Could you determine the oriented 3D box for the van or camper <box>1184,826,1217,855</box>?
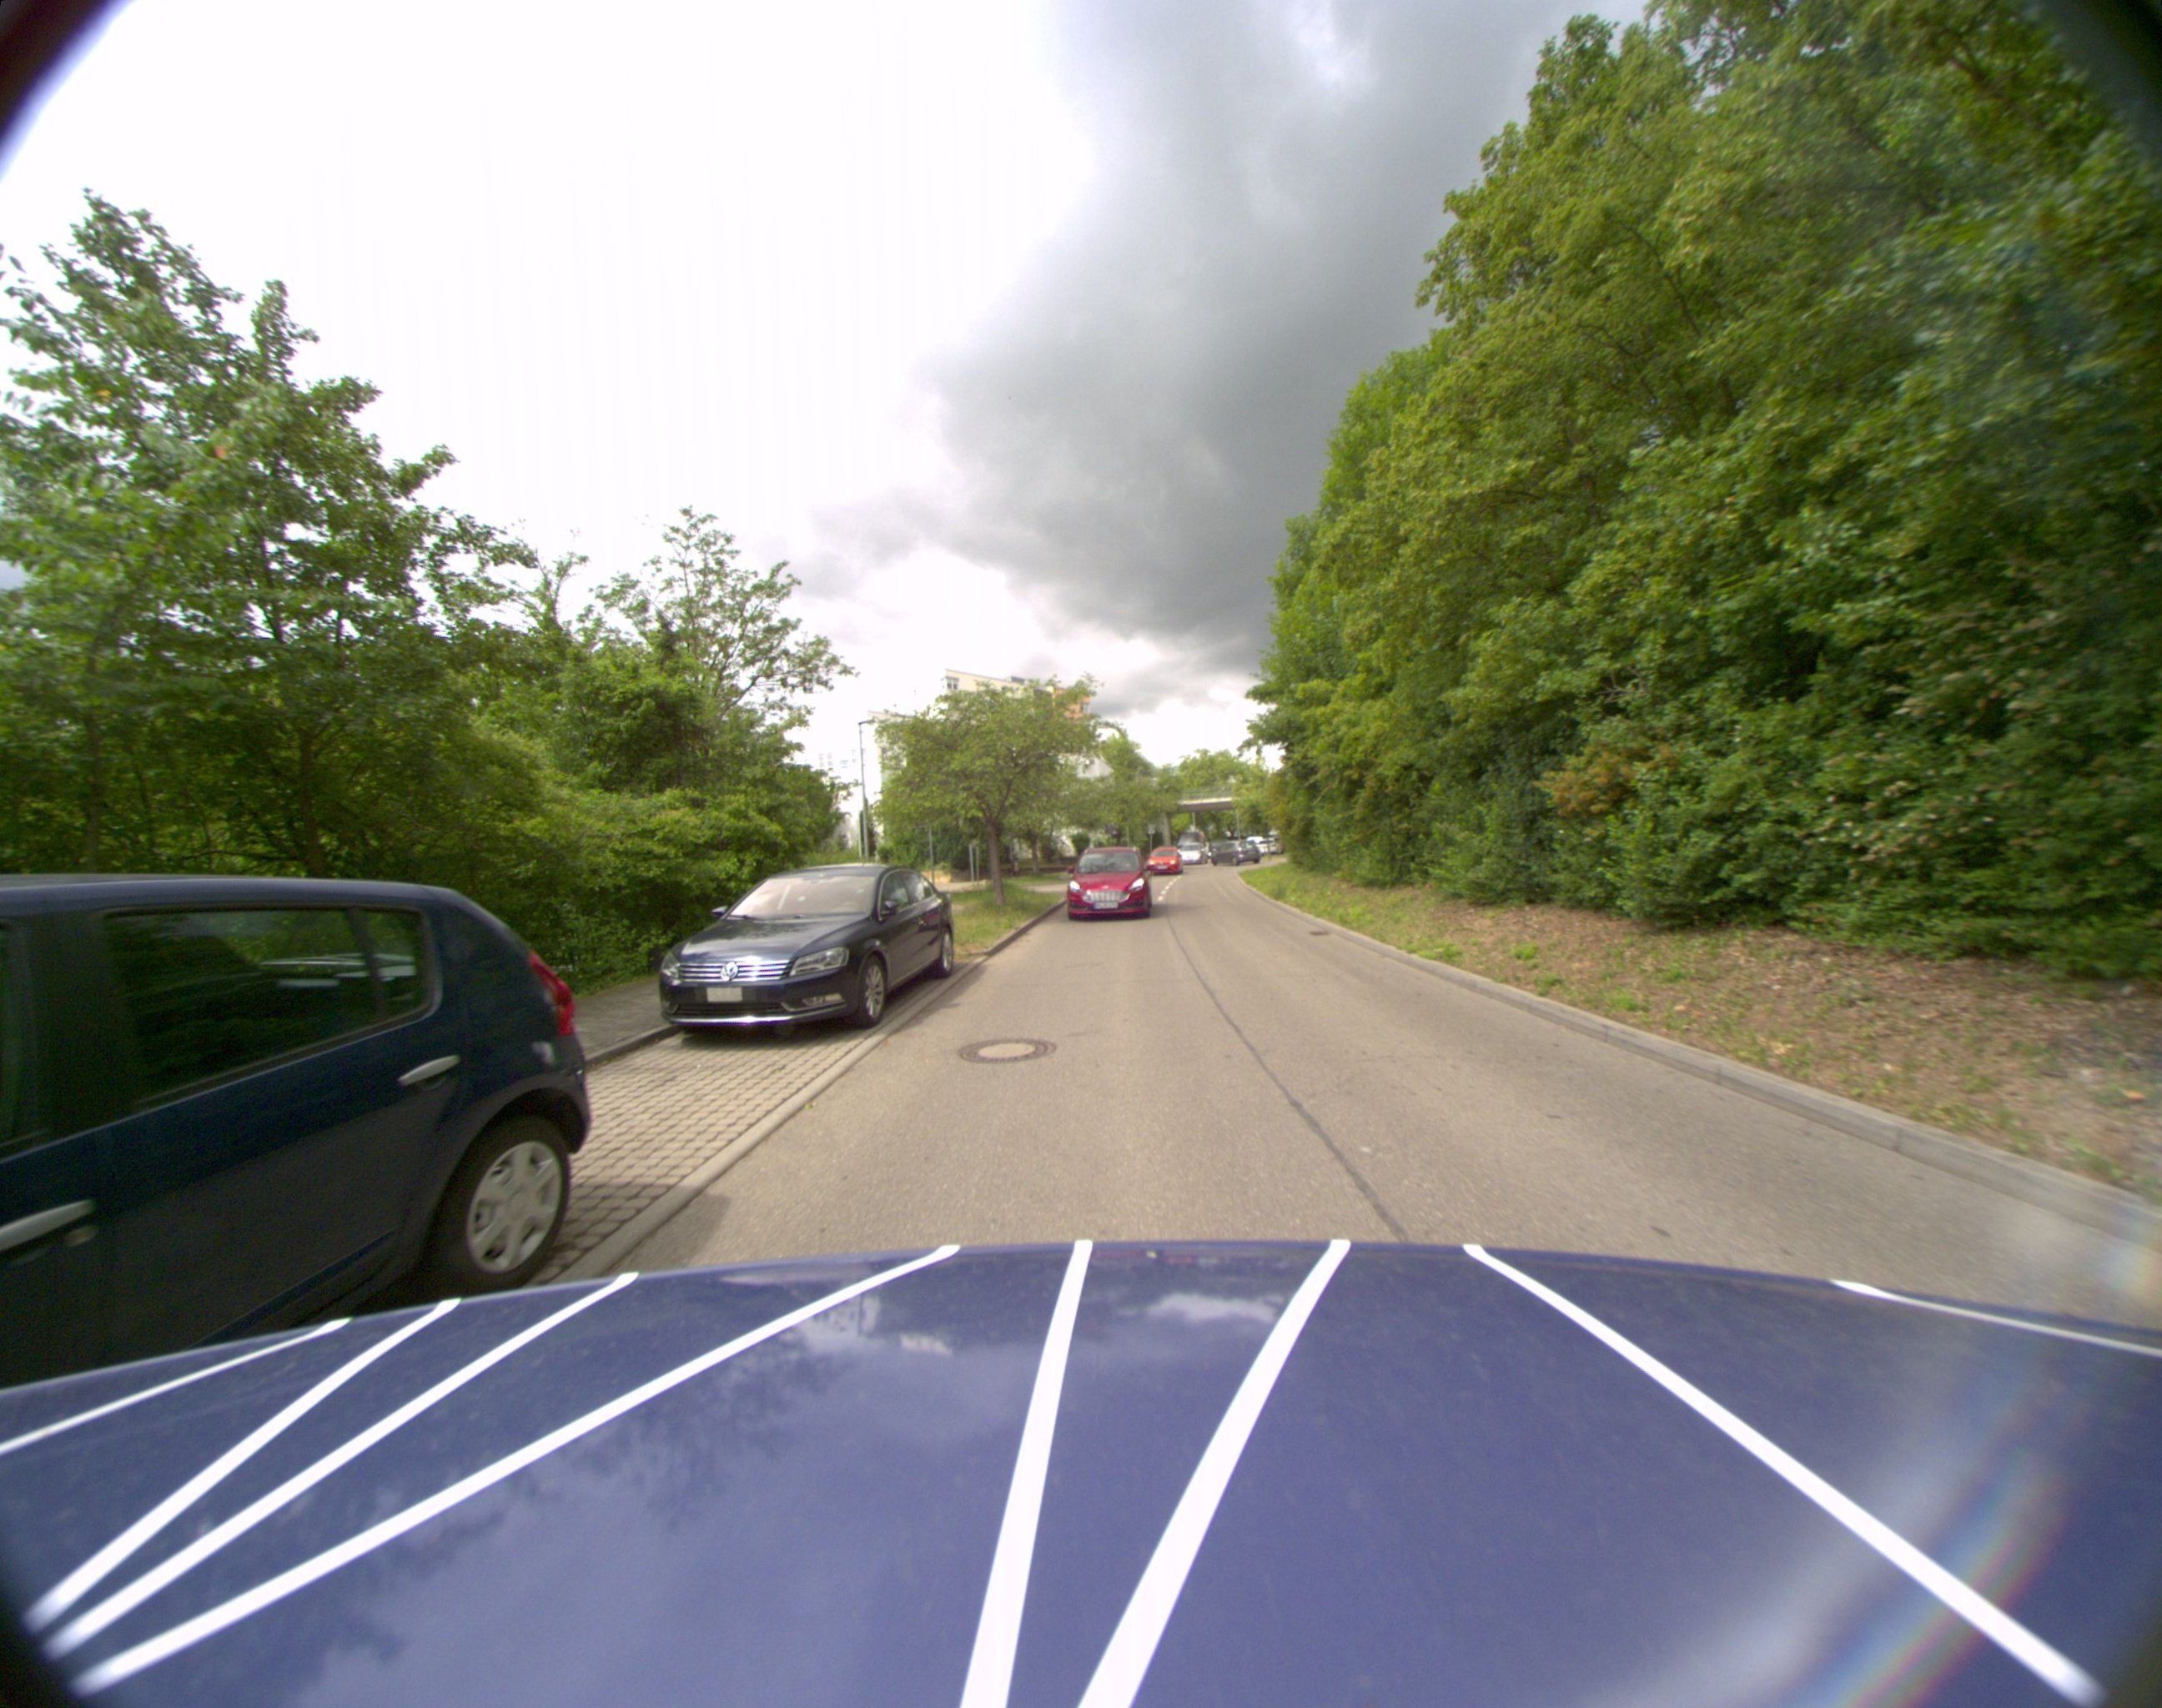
[{"bbox_3d":[11.511,-1.354,72.735,1.996,2.481,5.764,-3,1,20],"label":"van or camper"}]

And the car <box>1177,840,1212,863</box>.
[{"bbox_3d":[8.440,-0.209,56.428,1.778,1.443,4.004,-3,1,19],"label":"car"}]

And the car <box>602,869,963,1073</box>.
[{"bbox_3d":[-2.631,0.946,7.974,1.780,1.426,4.334,-2,0,4],"label":"car"}]

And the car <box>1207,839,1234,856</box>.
[{"bbox_3d":[12.874,-0.592,69.971,1.778,1.412,4.005,-3,0,18],"label":"car"}]

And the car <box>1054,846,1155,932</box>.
[{"bbox_3d":[0.653,0.709,17.423,1.812,1.600,3.723,-4,1,8],"label":"car"}]

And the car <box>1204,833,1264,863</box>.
[{"bbox_3d":[9.896,-0.347,49.439,1.760,1.651,4.113,0,-3,-25],"label":"car"}]

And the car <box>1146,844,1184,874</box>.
[{"bbox_3d":[4.560,0.240,41.231,1.861,1.434,4.001,-3,1,6],"label":"car"}]

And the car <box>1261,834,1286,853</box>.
[{"bbox_3d":[17.751,-0.991,70.068,1.811,1.575,3.990,-5,0,18],"label":"car"}]

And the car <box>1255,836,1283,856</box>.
[{"bbox_3d":[15.267,-0.686,61.594,1.810,1.397,4.052,-3,1,19],"label":"car"}]

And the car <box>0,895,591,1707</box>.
[{"bbox_3d":[-2.870,0.984,1.113,1.733,1.510,3.888,-2,1,0],"label":"car"}]
